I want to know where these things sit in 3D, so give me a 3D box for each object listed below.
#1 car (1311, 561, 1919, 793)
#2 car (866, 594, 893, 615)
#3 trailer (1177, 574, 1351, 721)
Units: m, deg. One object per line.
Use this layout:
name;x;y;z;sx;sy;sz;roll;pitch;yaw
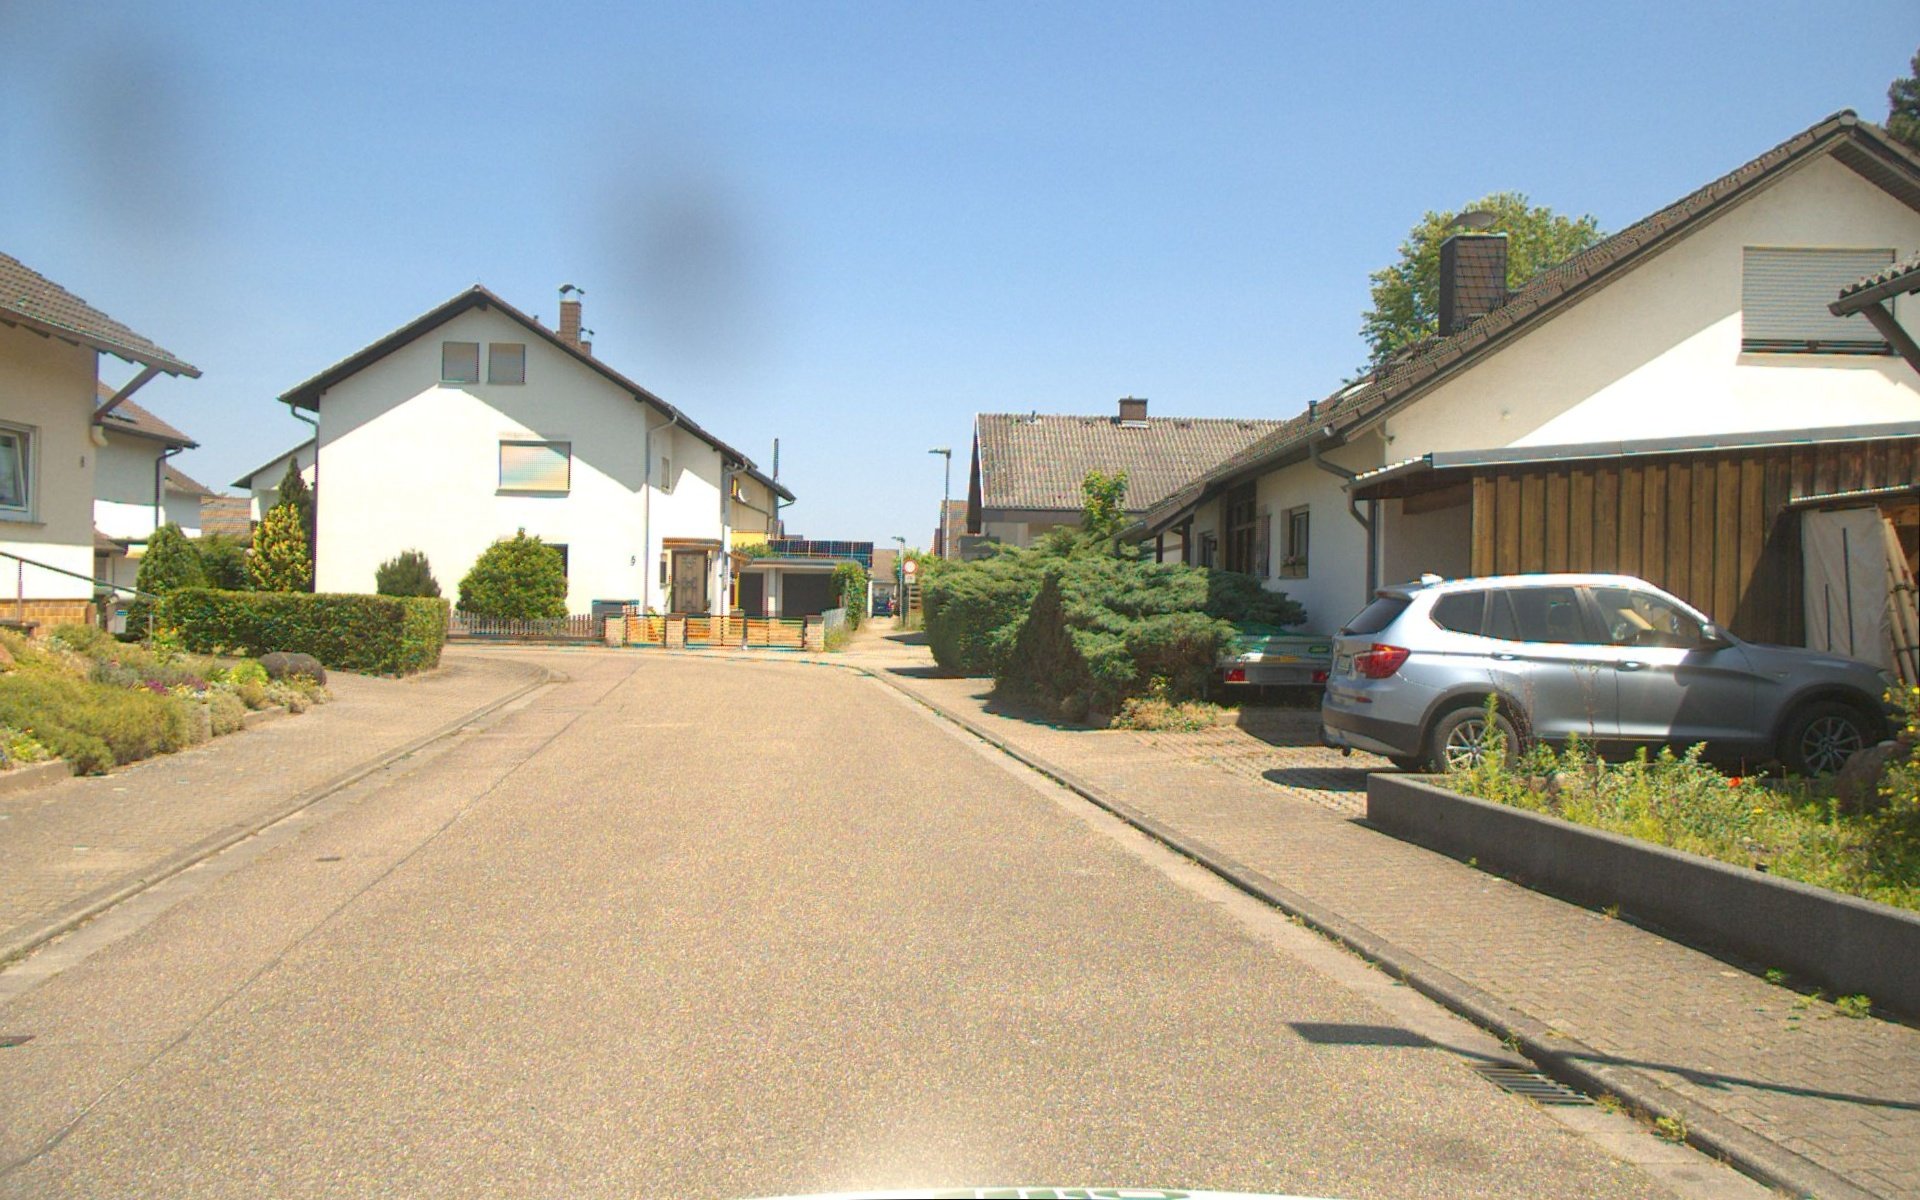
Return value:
car;5.332;0.596;13.596;4.531;1.732;1.710;-1;0;1
car;-6.718;0.397;138.936;2.149;1.731;3.806;1;0;-1
trailer;3.799;0.541;21.130;1.555;1.701;3.296;-1;1;-1
